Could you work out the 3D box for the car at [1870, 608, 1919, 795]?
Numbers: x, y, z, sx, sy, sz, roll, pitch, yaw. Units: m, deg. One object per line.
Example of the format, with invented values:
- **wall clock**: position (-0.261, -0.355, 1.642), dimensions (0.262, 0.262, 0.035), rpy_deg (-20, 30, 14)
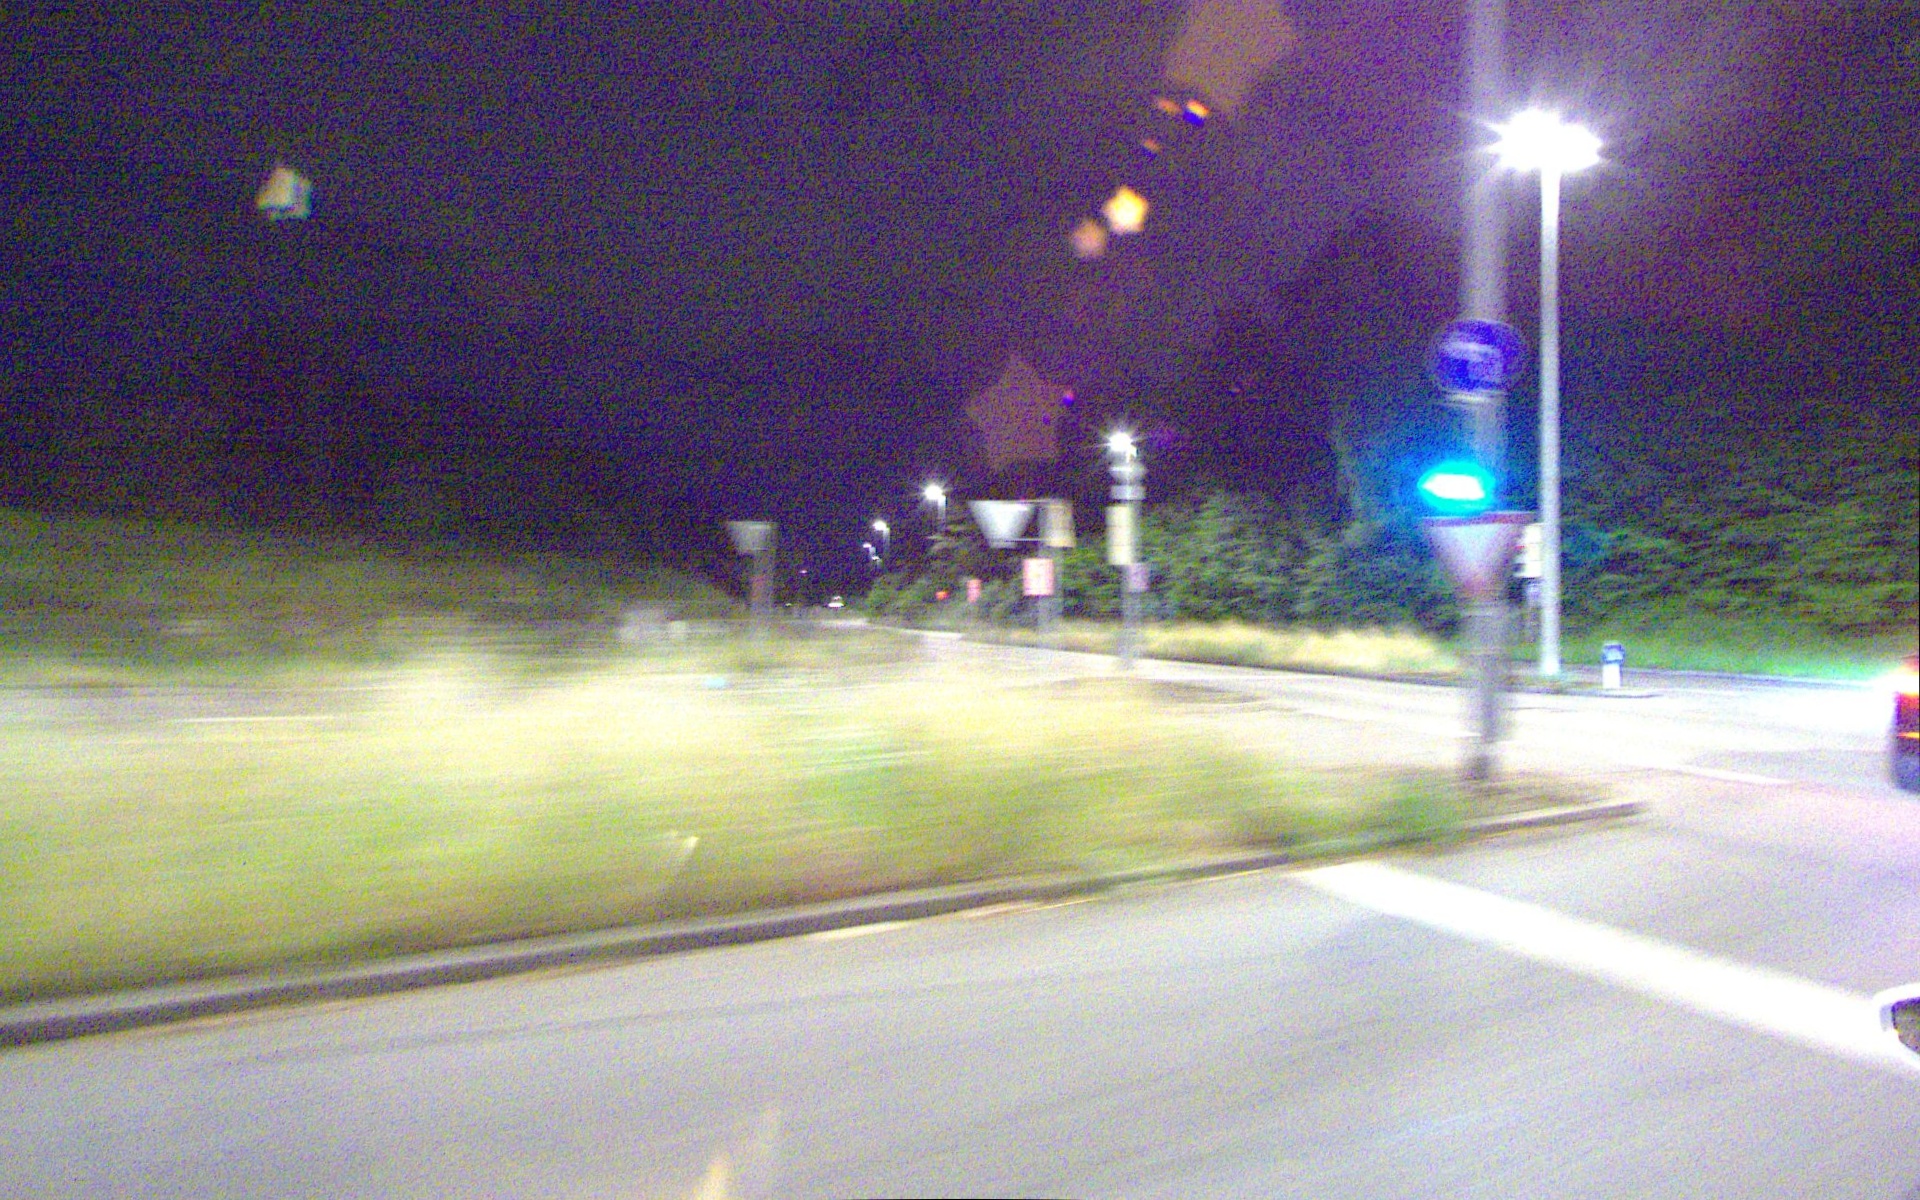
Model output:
- **car**: position (10.206, 0.918, 9.410), dimensions (3.971, 1.603, 1.838), rpy_deg (1, 0, -38)
